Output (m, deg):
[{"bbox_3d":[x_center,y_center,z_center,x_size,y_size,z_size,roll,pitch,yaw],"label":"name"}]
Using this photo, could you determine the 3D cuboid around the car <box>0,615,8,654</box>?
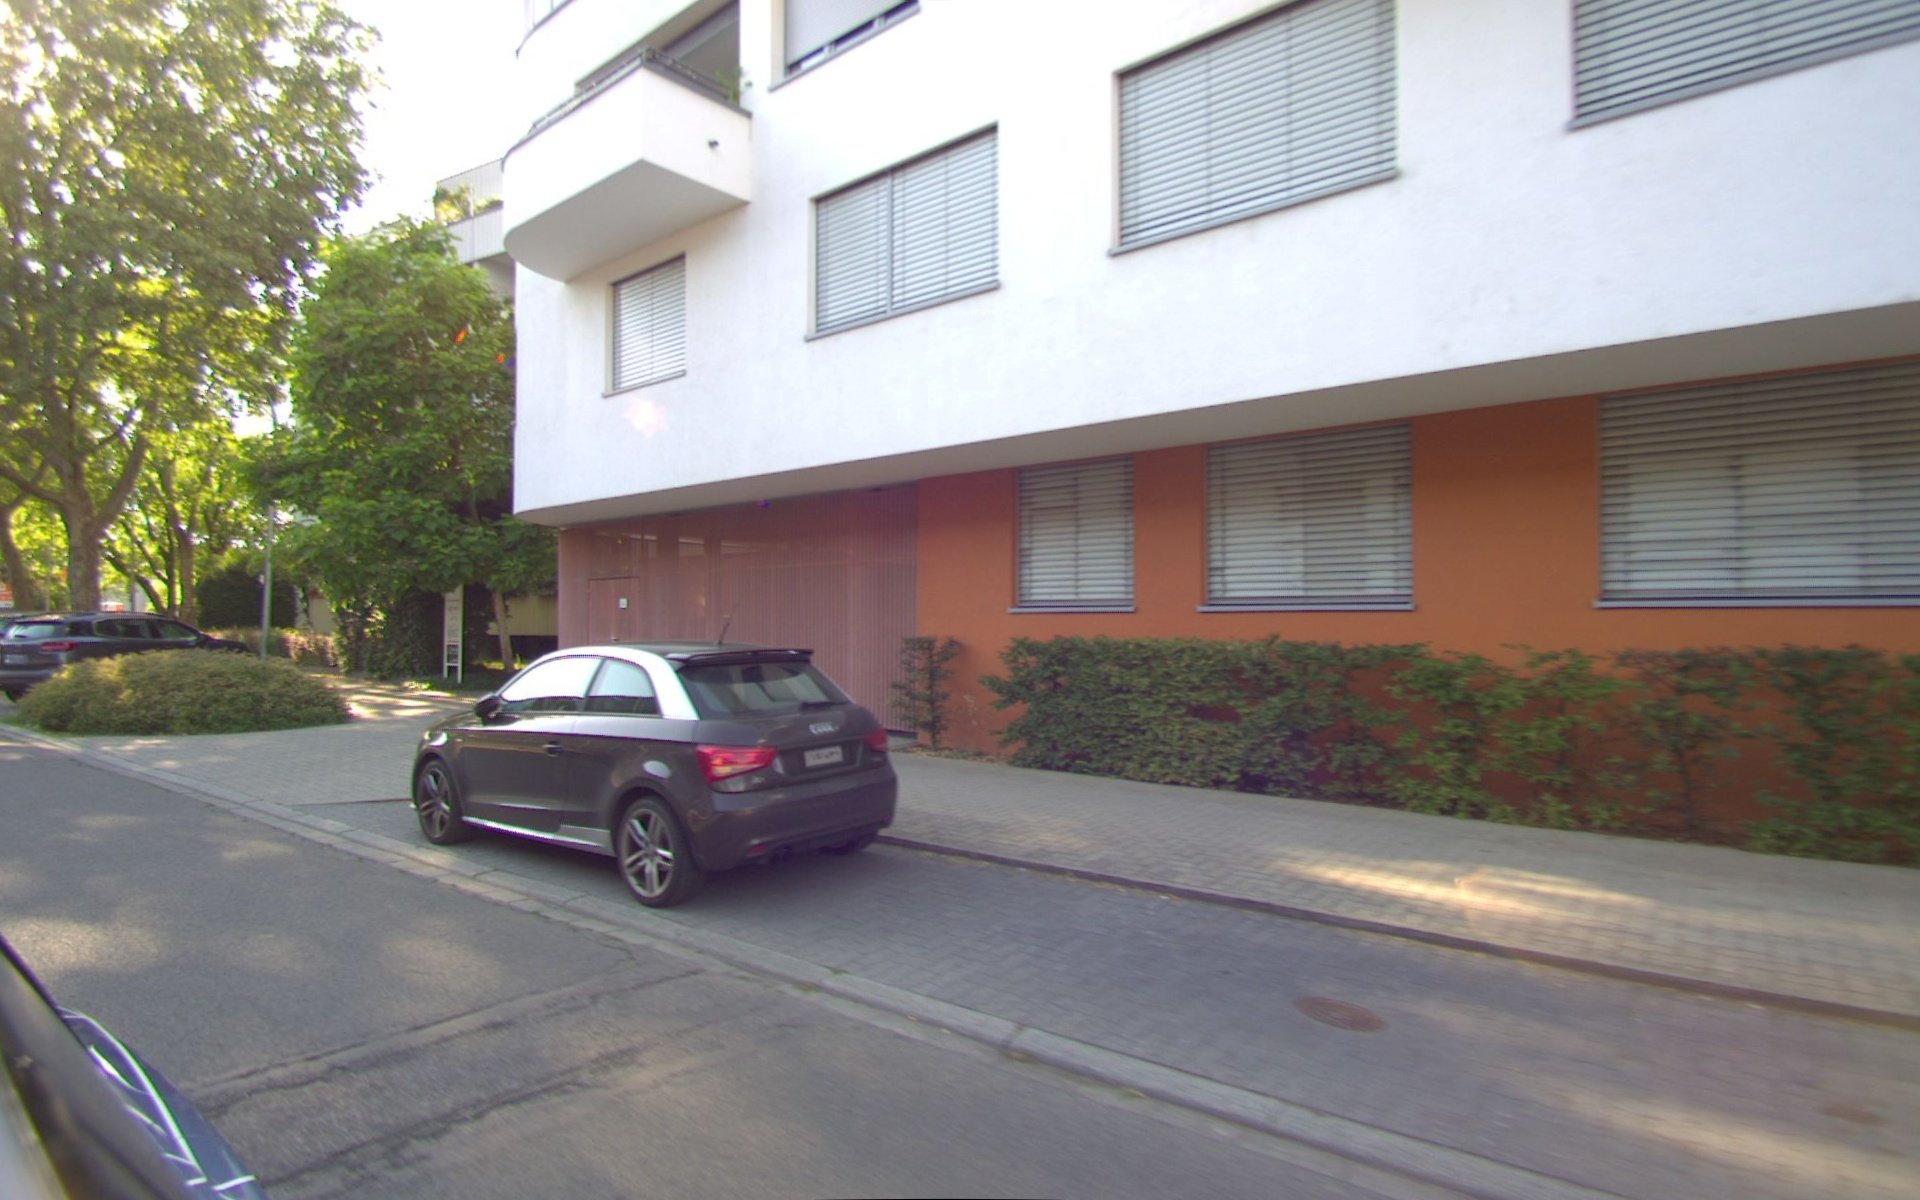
[{"bbox_3d":[-48.260,1.673,48.129,1.821,1.896,3.971,0,-1,21],"label":"car"}]

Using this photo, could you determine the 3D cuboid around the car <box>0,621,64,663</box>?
[{"bbox_3d":[-39.079,1.684,41.186,1.633,1.674,3.637,0,-1,11],"label":"car"}]

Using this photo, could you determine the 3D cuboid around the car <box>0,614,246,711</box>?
[{"bbox_3d":[-16.260,1.124,19.601,1.681,1.675,3.947,0,-1,10],"label":"car"}]

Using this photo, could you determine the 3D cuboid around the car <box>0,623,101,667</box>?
[{"bbox_3d":[-35.045,1.661,38.277,1.691,1.572,3.638,0,-1,11],"label":"car"}]

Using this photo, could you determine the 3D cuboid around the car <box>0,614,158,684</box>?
[{"bbox_3d":[-25.005,1.292,27.915,1.888,1.788,4.249,0,-1,15],"label":"car"}]

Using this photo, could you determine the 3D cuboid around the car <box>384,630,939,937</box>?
[{"bbox_3d":[-2.126,0.949,6.756,3.764,1.444,1.659,-1,-1,37],"label":"car"}]

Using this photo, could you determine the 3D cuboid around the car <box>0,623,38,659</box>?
[{"bbox_3d":[-44.040,1.817,45.112,1.786,1.637,3.969,-1,-2,23],"label":"car"}]

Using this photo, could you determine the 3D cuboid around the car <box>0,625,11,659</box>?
[{"bbox_3d":[-46.085,1.937,46.277,1.637,1.572,3.576,0,-1,19],"label":"car"}]

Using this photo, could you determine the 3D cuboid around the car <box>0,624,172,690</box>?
[{"bbox_3d":[-22.818,1.404,26.157,1.683,1.572,3.635,0,-1,12],"label":"car"}]
